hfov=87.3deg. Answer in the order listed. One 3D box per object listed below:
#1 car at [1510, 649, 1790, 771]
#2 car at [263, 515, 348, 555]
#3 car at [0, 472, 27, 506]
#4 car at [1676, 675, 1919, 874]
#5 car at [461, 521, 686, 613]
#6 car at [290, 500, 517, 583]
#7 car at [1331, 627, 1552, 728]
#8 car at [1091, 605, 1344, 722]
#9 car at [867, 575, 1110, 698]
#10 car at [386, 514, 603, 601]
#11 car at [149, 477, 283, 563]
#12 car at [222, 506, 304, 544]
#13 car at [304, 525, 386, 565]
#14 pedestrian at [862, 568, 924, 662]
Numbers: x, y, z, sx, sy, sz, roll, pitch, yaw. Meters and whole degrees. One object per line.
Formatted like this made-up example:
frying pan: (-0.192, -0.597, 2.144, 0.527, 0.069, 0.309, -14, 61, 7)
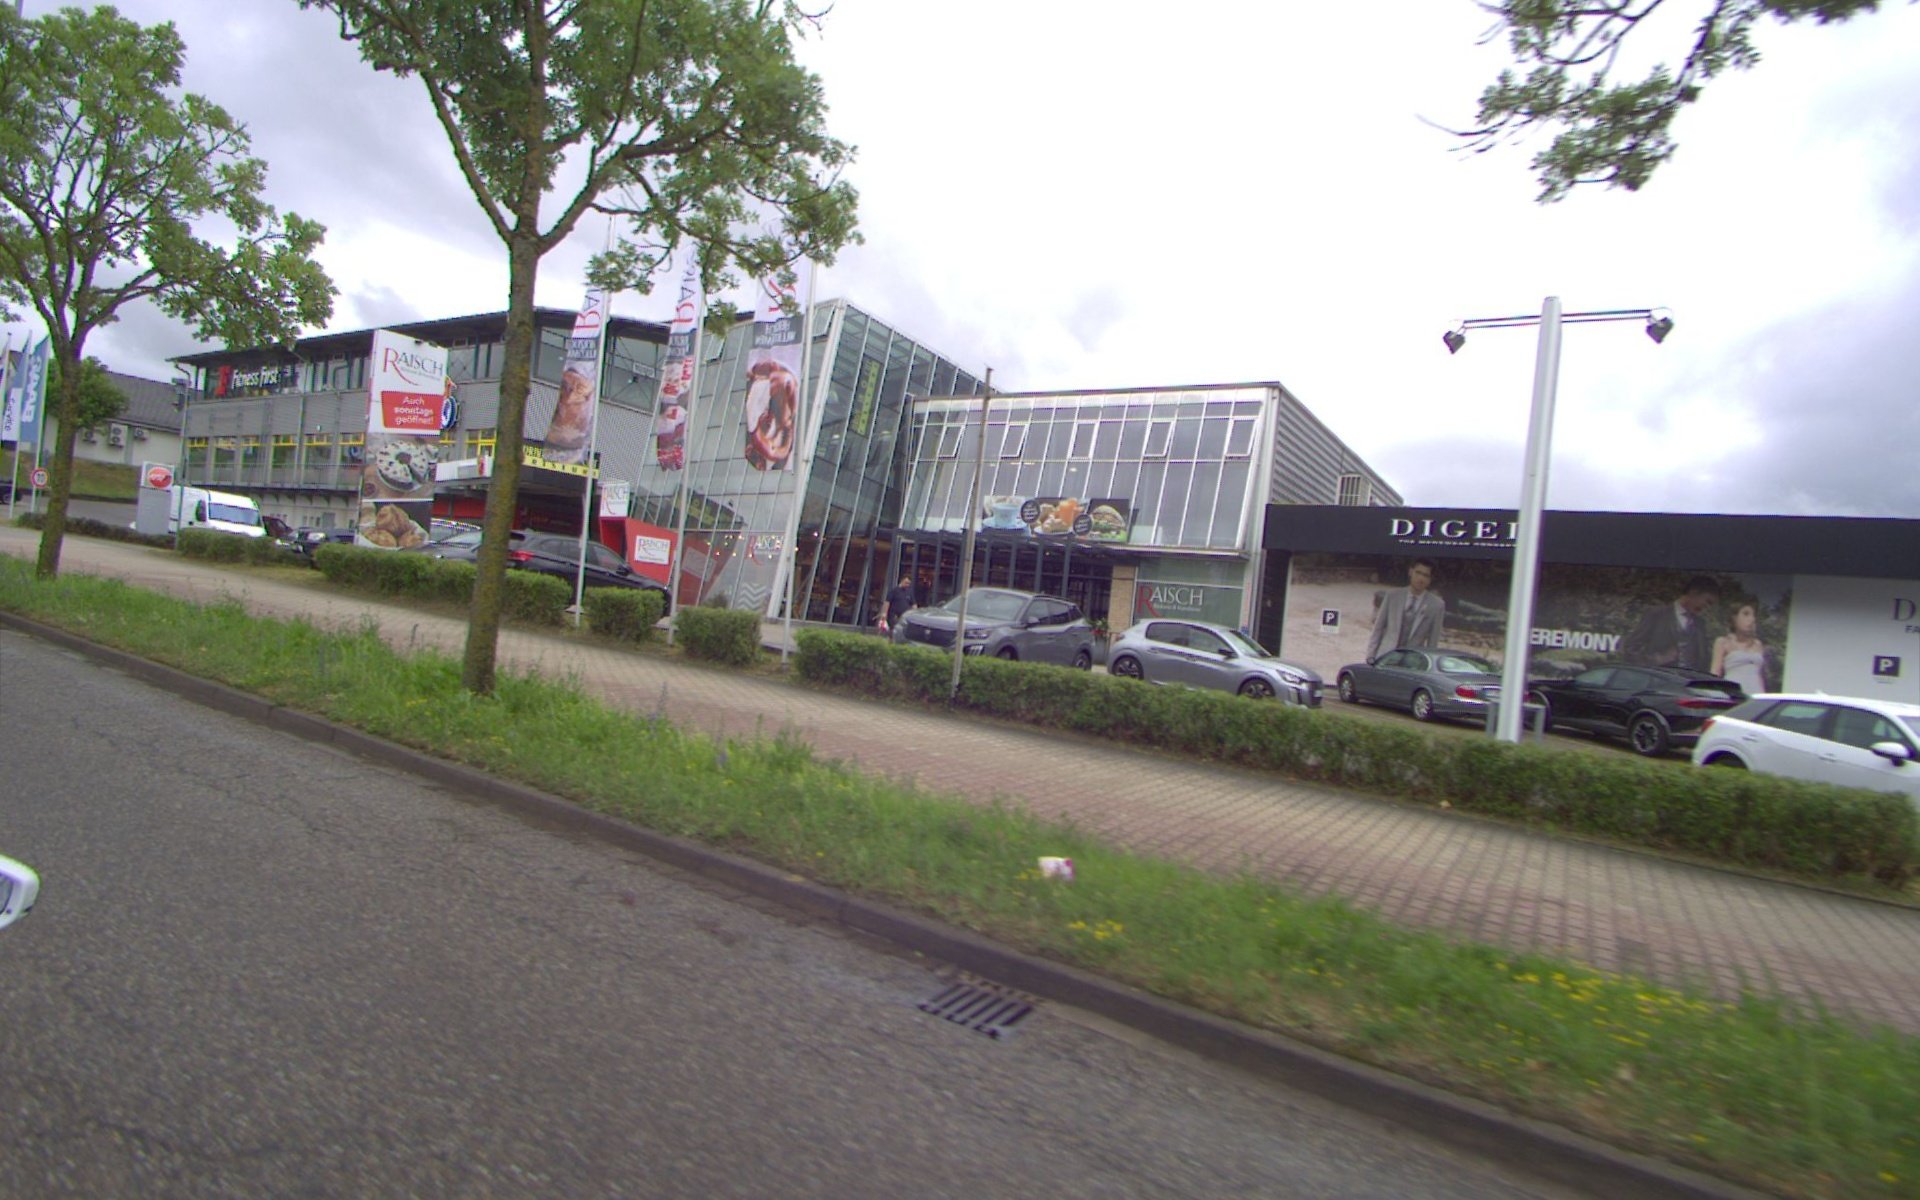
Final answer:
car: (12.291, 1.891, 18.291, 1.769, 1.499, 4.031, 4, 3, -10)
car: (-31.171, -3.064, 48.073, 1.711, 1.488, 4.249, 9, 1, -10)
car: (-49.167, -5.768, 49.682, 1.764, 1.456, 4.103, 10, 1, 20)
car: (9.681, 1.810, 10.058, 1.758, 1.493, 4.175, 5, 2, -3)
car: (-8.202, -0.652, 21.658, 1.772, 1.622, 4.164, 8, 3, 36)
car: (-14.047, -1.449, 25.590, 1.900, 1.622, 4.641, 8, 3, 43)
car: (9.649, 1.496, 20.644, 1.768, 1.415, 4.486, 4, 2, -9)
car: (4.703, 1.091, 18.648, 4.060, 1.465, 1.758, 9, 4, 38)
car: (0.592, 0.530, 15.735, 1.832, 1.493, 4.168, 7, 3, 32)
car: (-10.656, -0.939, 23.290, 1.799, 1.622, 4.164, 8, 3, 36)
car: (-28.525, -3.100, 38.495, 5.590, 2.566, 2.230, 8, -1, 35)
car: (-35.962, -3.819, 52.044, 1.710, 1.520, 3.867, 9, 1, -7)
car: (-28.545, -2.539, 46.838, 1.756, 1.488, 4.247, 9, 1, -12)
pedestrian: (-1.377, 0.313, 20.765, 0.837, 1.810, 0.632, 7, -1, 32)
